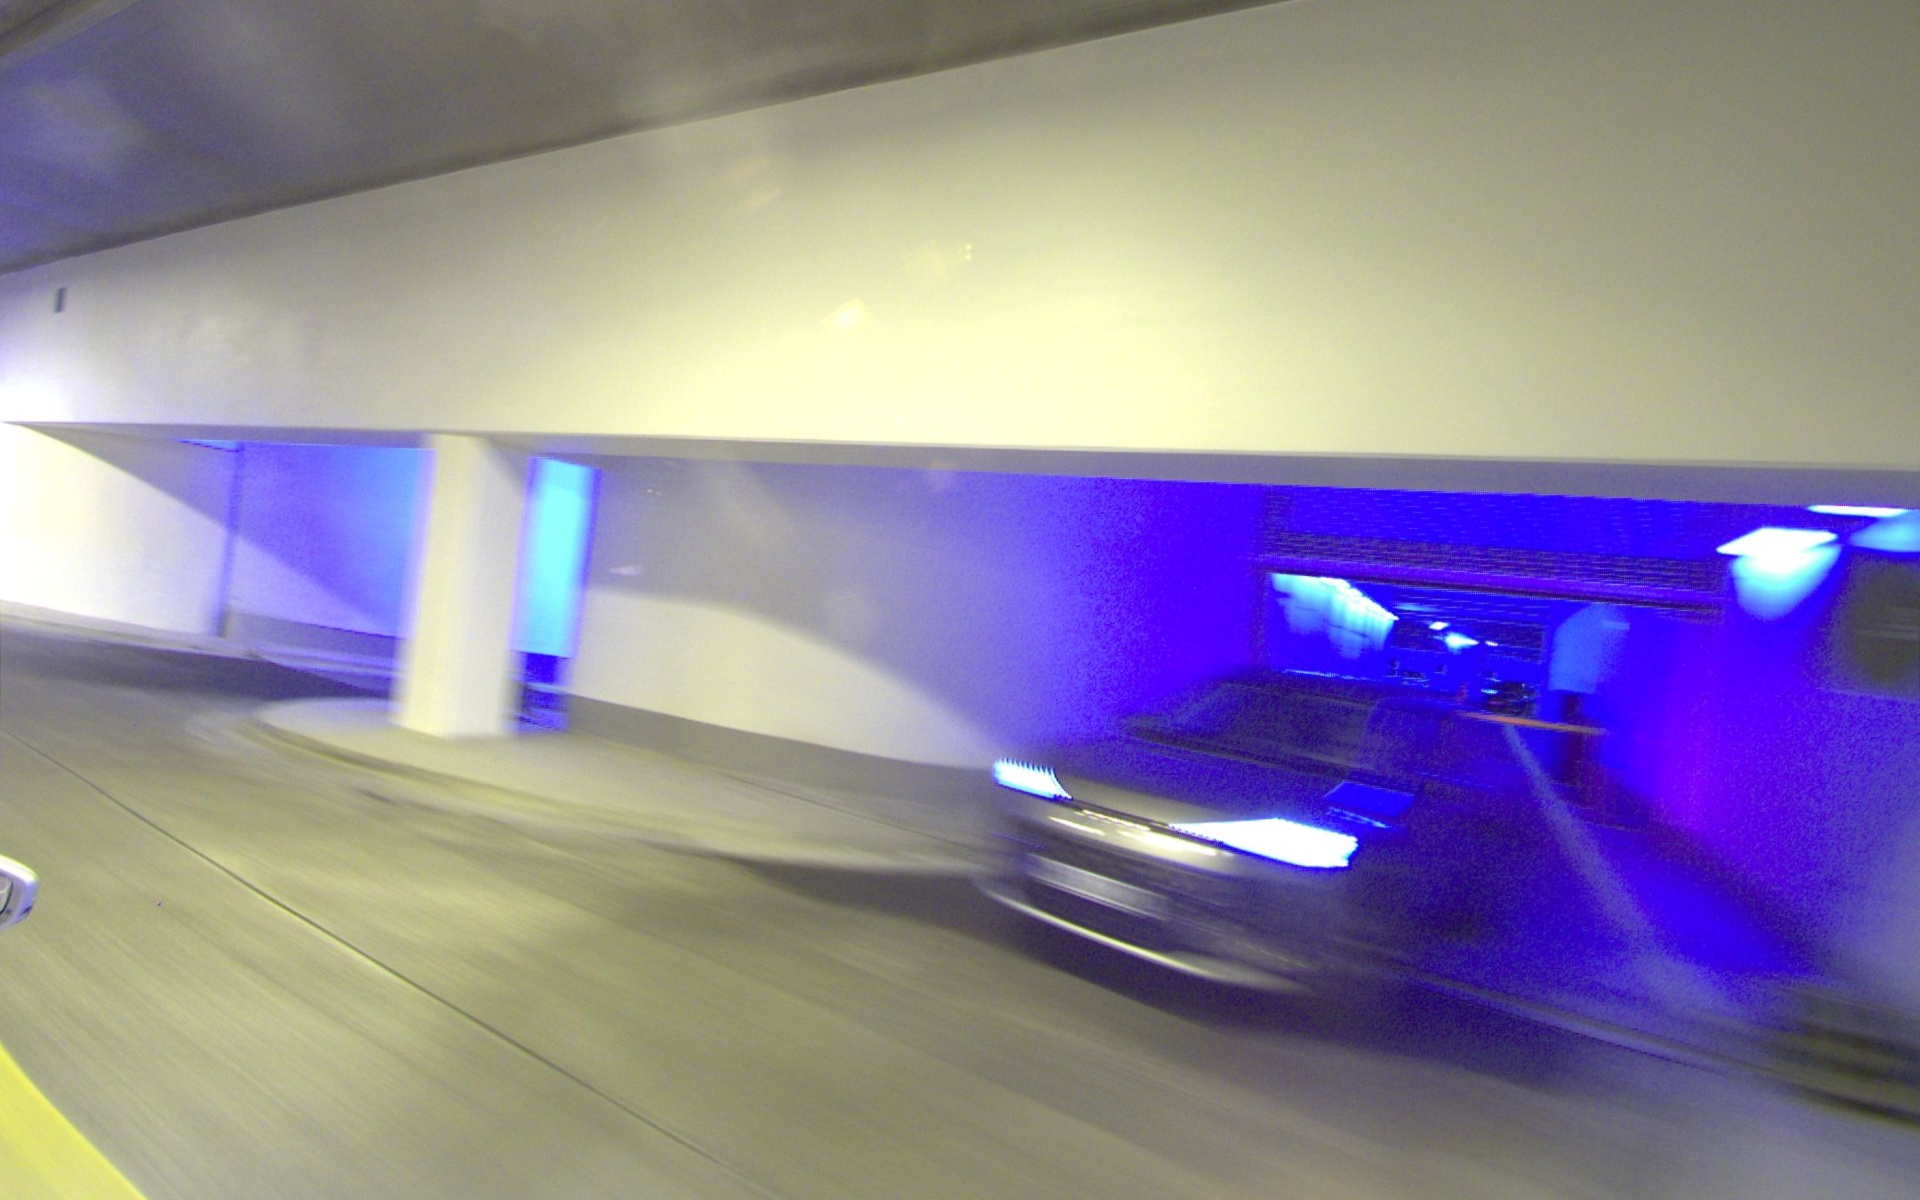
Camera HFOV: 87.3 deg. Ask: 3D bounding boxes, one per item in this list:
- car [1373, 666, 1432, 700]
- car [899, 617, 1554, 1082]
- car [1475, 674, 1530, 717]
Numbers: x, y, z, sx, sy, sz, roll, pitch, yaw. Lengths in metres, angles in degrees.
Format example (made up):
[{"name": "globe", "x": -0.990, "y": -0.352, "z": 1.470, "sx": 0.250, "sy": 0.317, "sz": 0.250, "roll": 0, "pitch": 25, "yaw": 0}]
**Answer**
[{"name": "car", "x": 22.337, "y": 4.176, "z": 50.905, "sx": 1.697, "sy": 1.392, "sz": 4.005, "roll": 7, "pitch": -2, "yaw": 10}, {"name": "car", "x": 1.867, "y": 1.167, "z": 5.898, "sx": 1.872, "sy": 1.563, "sz": 4.222, "roll": 6, "pitch": -3, "yaw": 42}, {"name": "car", "x": 21.322, "y": 3.776, "z": 39.548, "sx": 1.700, "sy": 1.392, "sz": 3.997, "roll": 6, "pitch": -2, "yaw": 29}]
